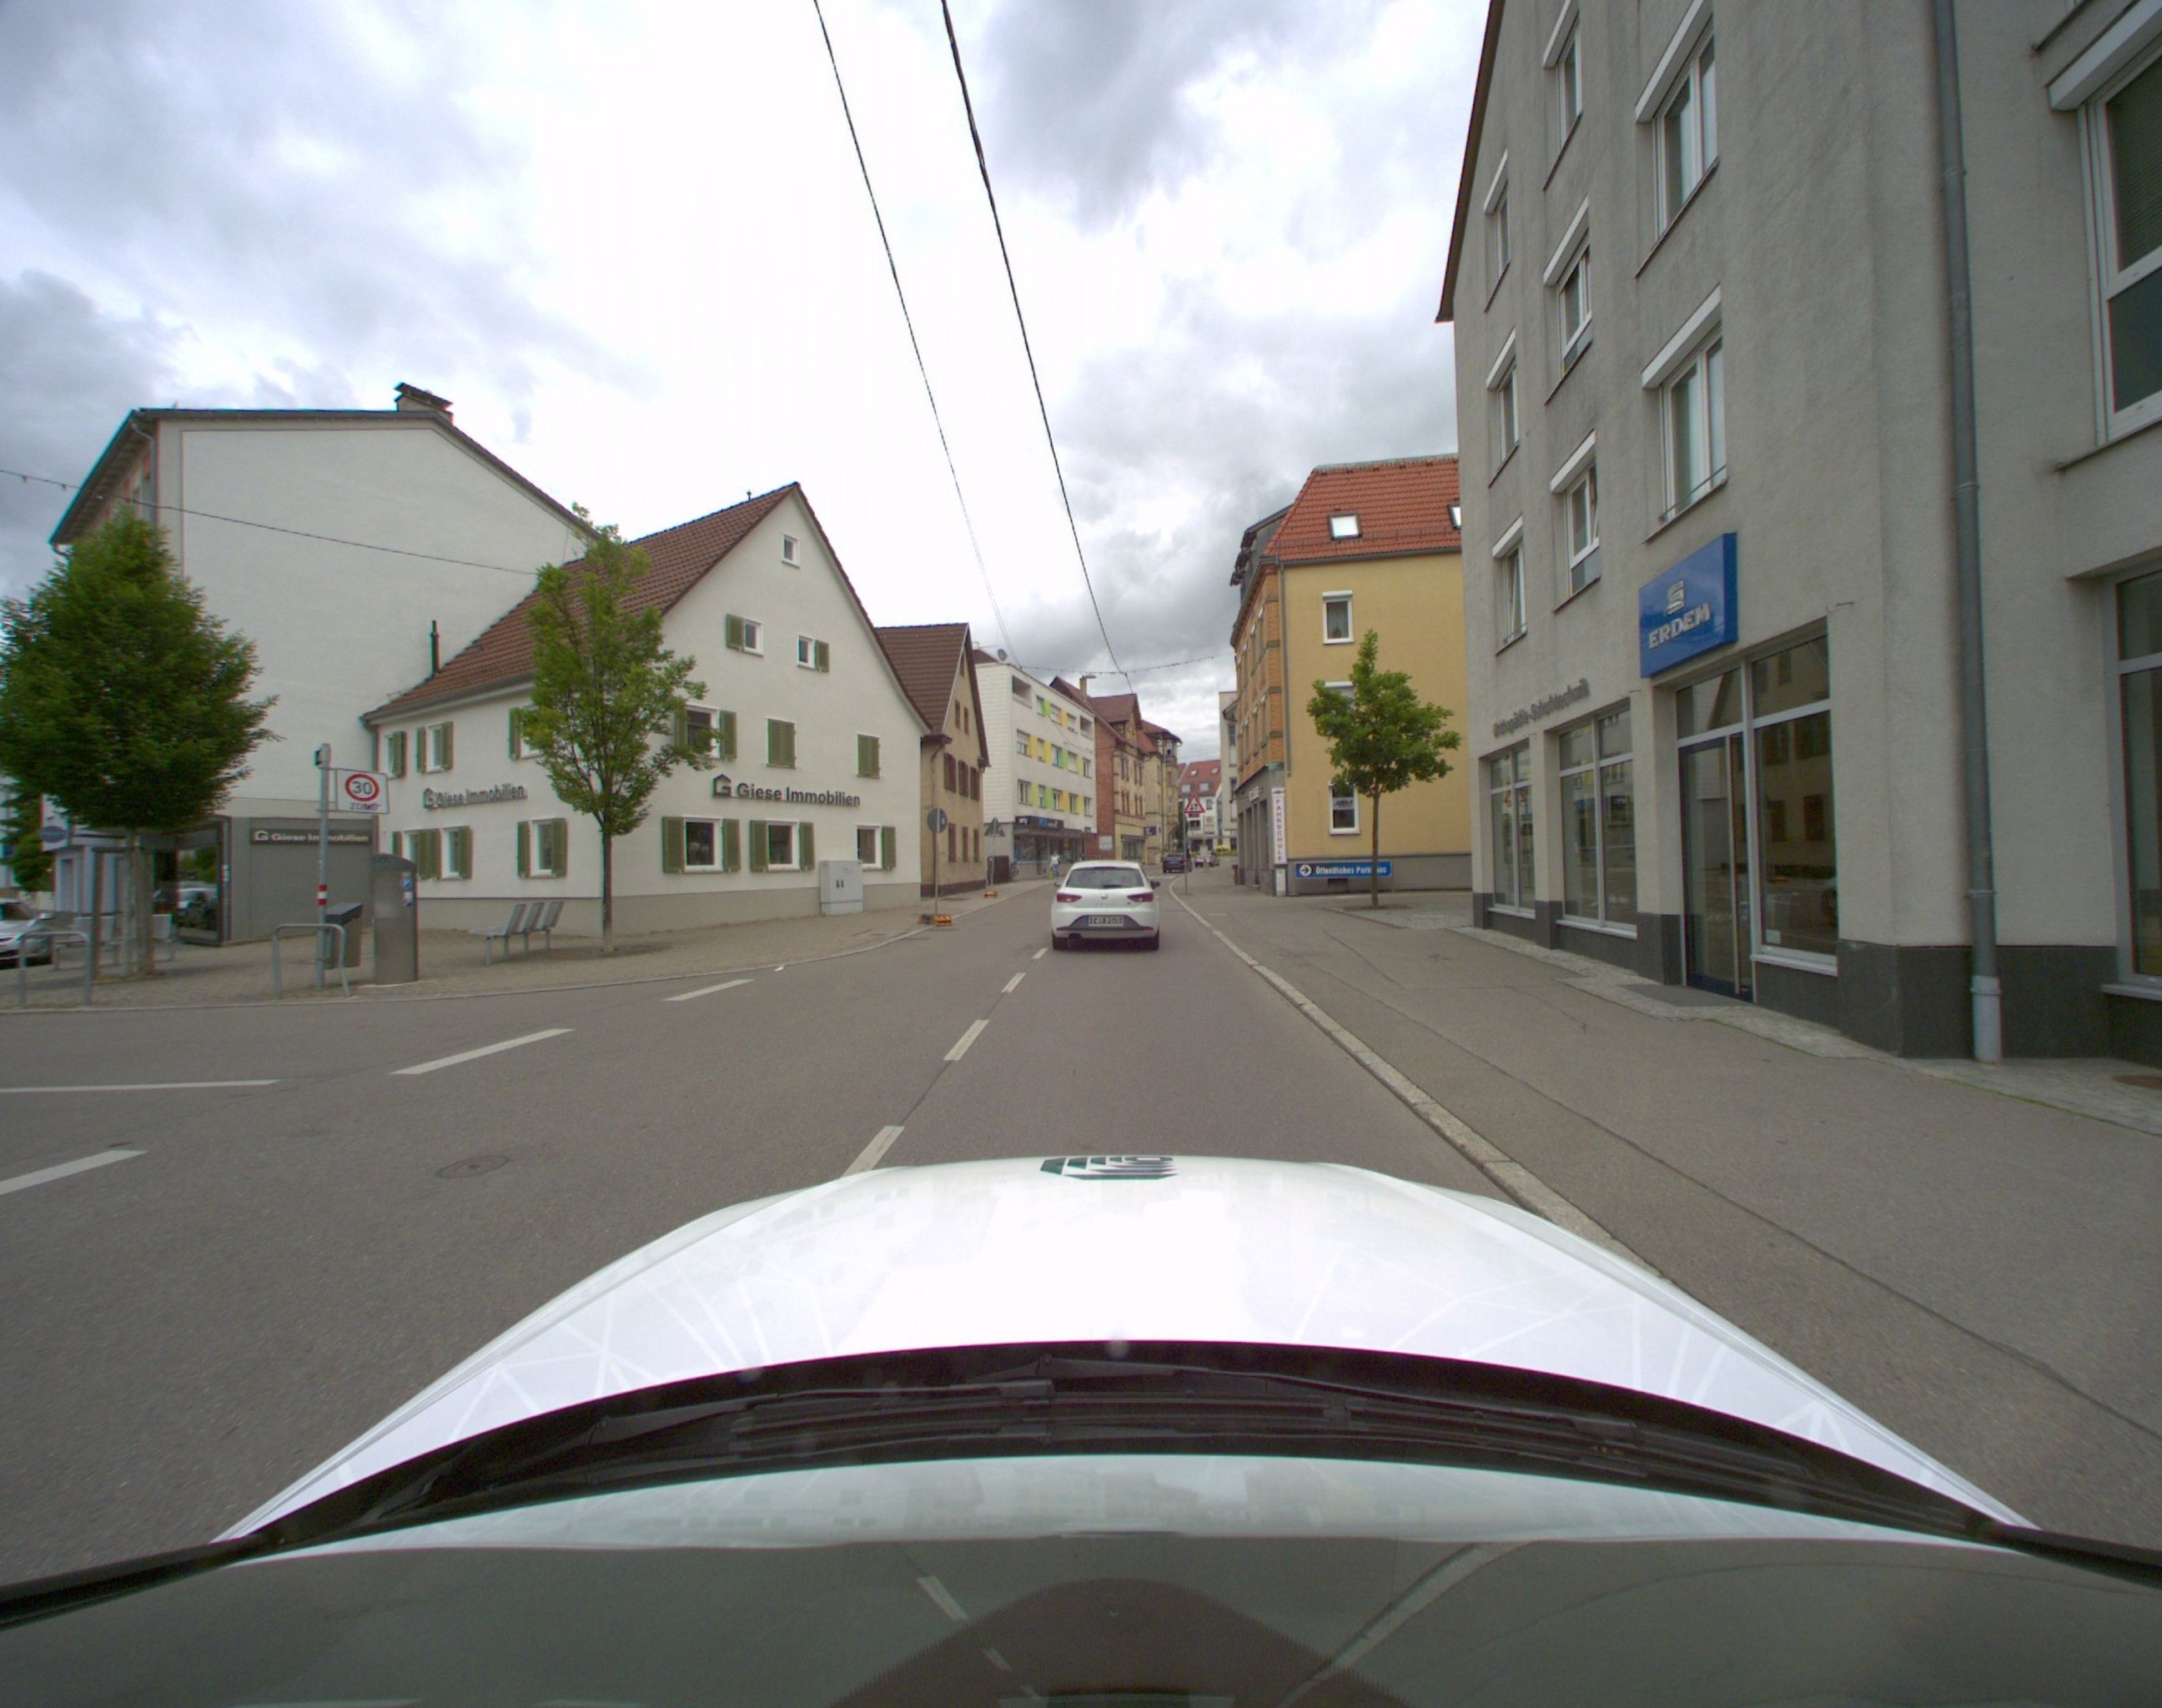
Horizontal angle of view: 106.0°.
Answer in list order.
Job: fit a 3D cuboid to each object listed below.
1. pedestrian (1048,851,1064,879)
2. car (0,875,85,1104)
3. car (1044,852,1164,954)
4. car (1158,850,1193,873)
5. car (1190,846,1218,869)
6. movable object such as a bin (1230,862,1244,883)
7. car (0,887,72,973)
[{"bbox_3d":[-1.516,0.650,49.970,0.889,1.665,0.862,-2,0,1],"label":"pedestrian"},{"bbox_3d":[-9.419,0.919,4.387,4.897,1.477,2.244,-1,0,-7],"label":"car"},{"bbox_3d":[0.547,0.732,14.355,1.802,1.480,3.877,0,1,6],"label":"car"},{"bbox_3d":[6.939,0.541,59.721,1.797,1.480,3.888,-2,1,17],"label":"car"},{"bbox_3d":[11.361,0.291,74.943,1.978,2.013,4.017,-2,0,16],"label":"car"},{"bbox_3d":[7.106,0.824,37.094,0.616,0.921,0.583,-2,0,9],"label":"movable object such as a bin"},{"bbox_3d":[-22.993,1.539,16.933,4.855,1.557,2.034,-1,0,33],"label":"car"}]
